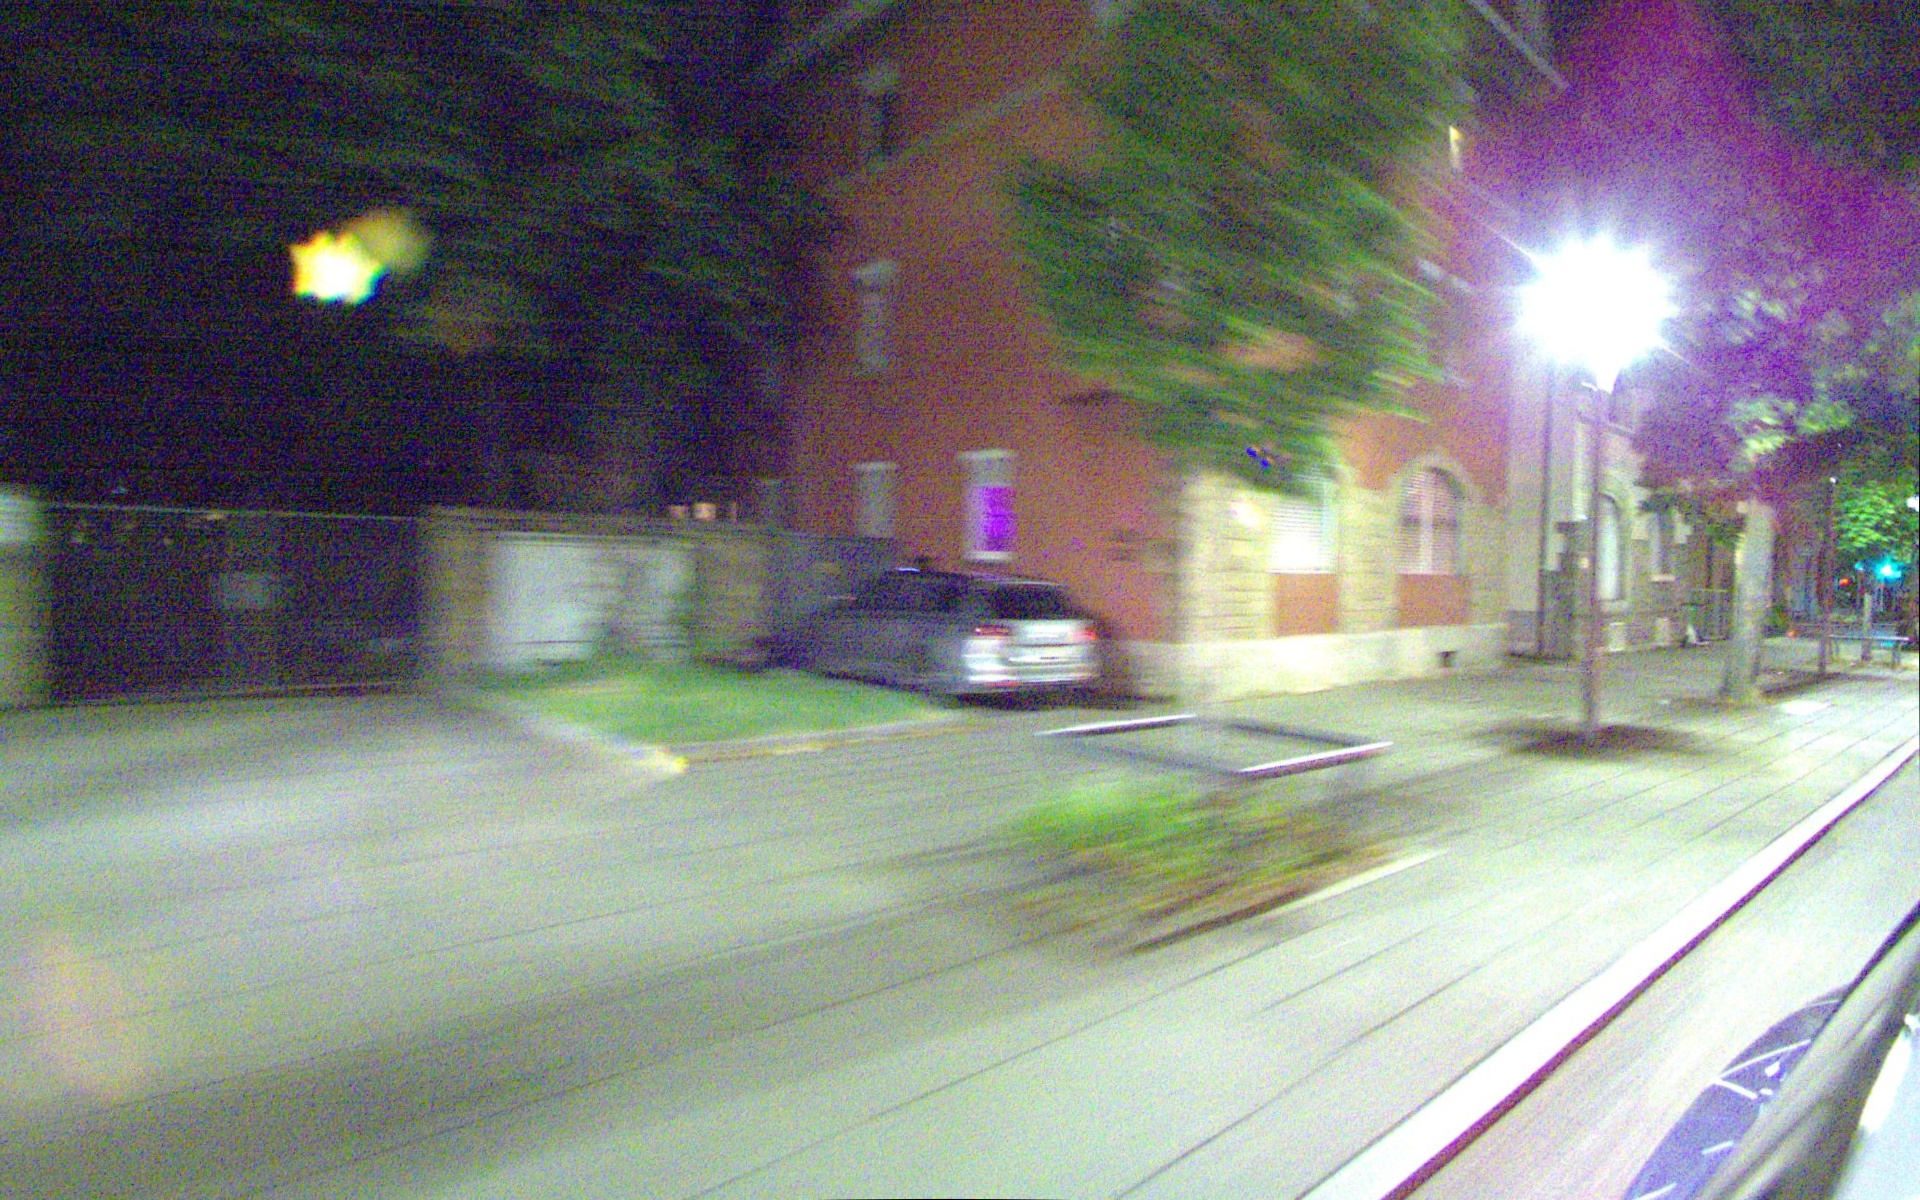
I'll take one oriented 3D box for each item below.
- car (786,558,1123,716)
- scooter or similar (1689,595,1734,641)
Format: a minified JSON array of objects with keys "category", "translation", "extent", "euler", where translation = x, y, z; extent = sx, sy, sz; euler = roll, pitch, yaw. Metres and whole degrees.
[{"category":"car","translation":[-0.282,0.288,12.041],"extent":[1.755,1.477,4.443],"euler":[1,2,-35]},{"category":"scooter or similar","translation":[19.194,0.452,25.841],"extent":[1.464,1.144,0.423],"euler":[0,2,-34]}]
